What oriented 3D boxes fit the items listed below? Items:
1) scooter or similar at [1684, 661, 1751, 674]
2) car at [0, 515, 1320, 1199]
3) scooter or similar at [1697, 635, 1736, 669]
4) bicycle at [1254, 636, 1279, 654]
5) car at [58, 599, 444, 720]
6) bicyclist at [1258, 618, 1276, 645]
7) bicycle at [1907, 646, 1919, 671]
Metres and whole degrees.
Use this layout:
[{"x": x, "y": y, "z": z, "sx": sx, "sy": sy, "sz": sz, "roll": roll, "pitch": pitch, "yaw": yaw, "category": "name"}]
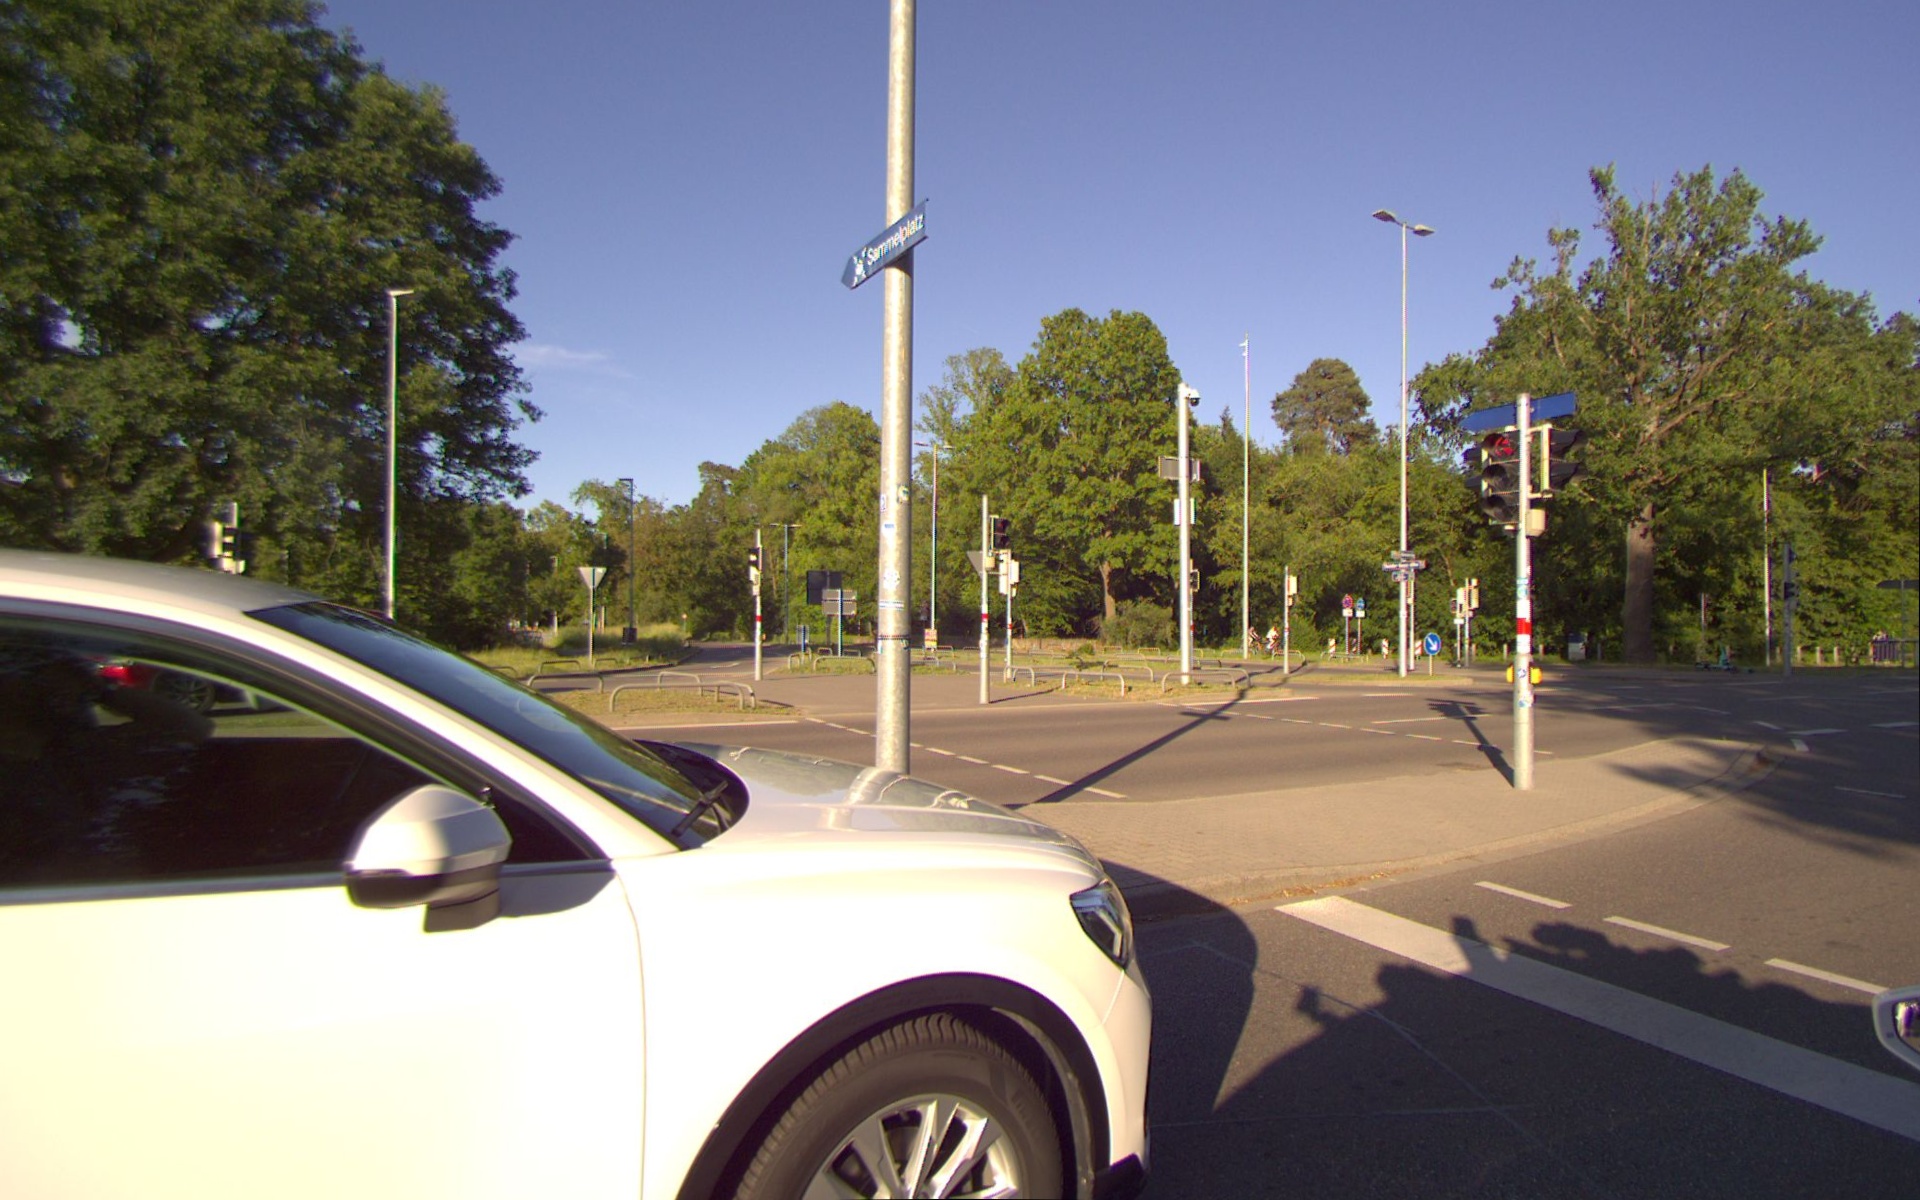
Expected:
[{"x": 25.865, "y": 2.298, "z": 34.299, "sx": 1.241, "sy": 0.344, "sz": 1.405, "roll": 0, "pitch": -1, "yaw": -22, "category": "scooter or similar"}, {"x": -1.493, "y": 0.676, "z": 1.920, "sx": 4.250, "sy": 1.533, "sz": 1.825, "roll": 1, "pitch": -1, "yaw": -31, "category": "car"}, {"x": 26.908, "y": 1.831, "z": 35.726, "sx": 0.388, "sy": 1.162, "sz": 1.065, "roll": 0, "pitch": -1, "yaw": -21, "category": "scooter or similar"}, {"x": 17.699, "y": 2.592, "z": 57.963, "sx": 0.770, "sy": 0.990, "sz": 1.588, "roll": 2, "pitch": 0, "yaw": -8, "category": "bicycle"}, {"x": -10.659, "y": 0.890, "z": 15.552, "sx": 1.857, "sy": 1.573, "sz": 4.569, "roll": -3, "pitch": -3, "yaw": 25, "category": "car"}, {"x": 17.706, "y": 1.824, "z": 57.930, "sx": 0.716, "sy": 1.502, "sz": 0.799, "roll": 1, "pitch": 0, "yaw": -7, "category": "bicyclist"}, {"x": 47.269, "y": 2.830, "z": 48.900, "sx": 1.949, "sy": 1.169, "sz": 0.681, "roll": 0, "pitch": 0, "yaw": -11, "category": "bicycle"}]
